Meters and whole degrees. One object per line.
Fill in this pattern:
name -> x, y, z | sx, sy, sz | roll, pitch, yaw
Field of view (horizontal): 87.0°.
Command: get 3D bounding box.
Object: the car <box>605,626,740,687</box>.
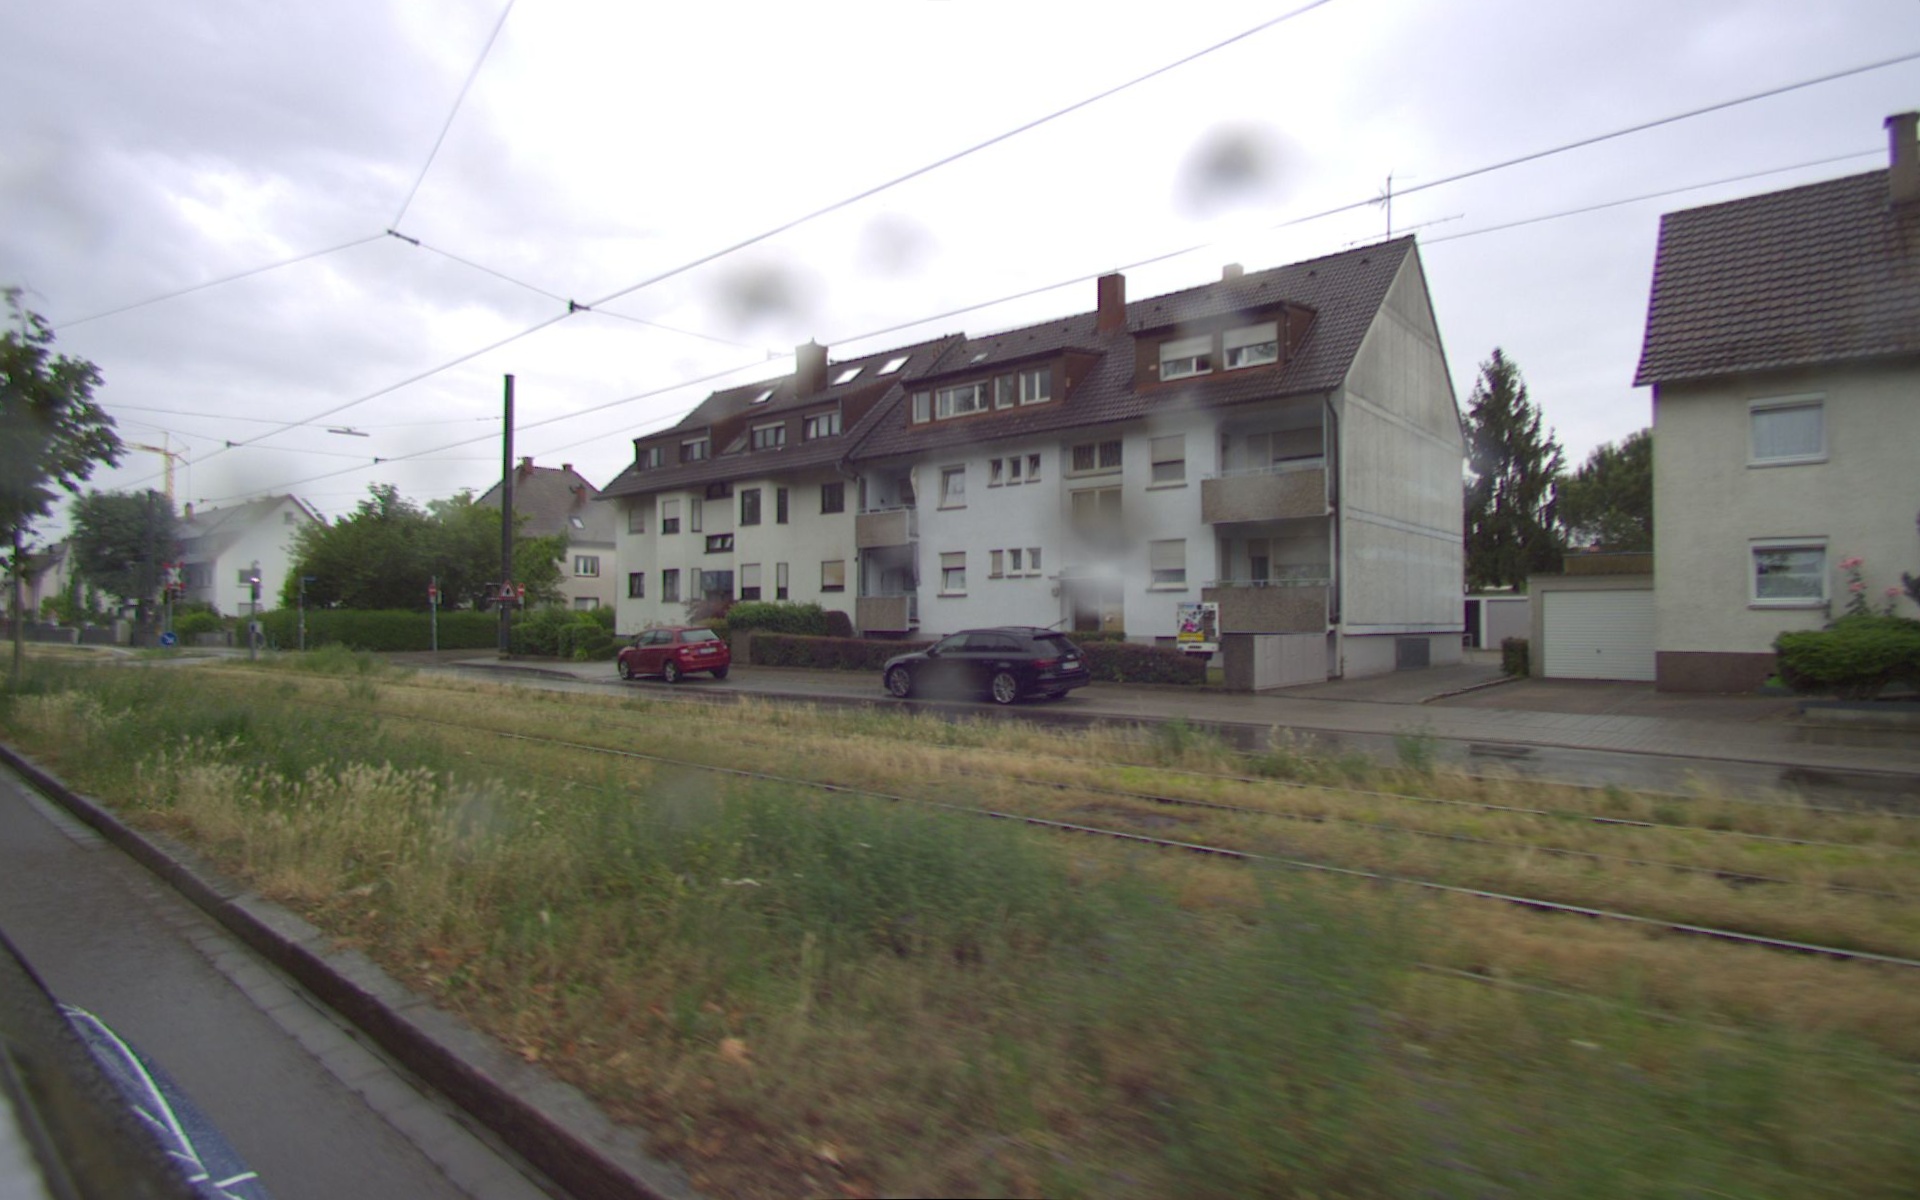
car -> -7.959, 1.513, 27.852 | 4.000, 1.468, 1.778 | -2, 0, 43

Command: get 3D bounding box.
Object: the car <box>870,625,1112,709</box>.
car -> 0.507, 1.282, 20.394 | 4.762, 1.421, 1.972 | -2, 0, 44

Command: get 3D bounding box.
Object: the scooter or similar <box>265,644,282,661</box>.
scooter or similar -> -37.475, 2.847, 55.209 | 1.256, 0.917, 0.343 | -2, -3, 36
